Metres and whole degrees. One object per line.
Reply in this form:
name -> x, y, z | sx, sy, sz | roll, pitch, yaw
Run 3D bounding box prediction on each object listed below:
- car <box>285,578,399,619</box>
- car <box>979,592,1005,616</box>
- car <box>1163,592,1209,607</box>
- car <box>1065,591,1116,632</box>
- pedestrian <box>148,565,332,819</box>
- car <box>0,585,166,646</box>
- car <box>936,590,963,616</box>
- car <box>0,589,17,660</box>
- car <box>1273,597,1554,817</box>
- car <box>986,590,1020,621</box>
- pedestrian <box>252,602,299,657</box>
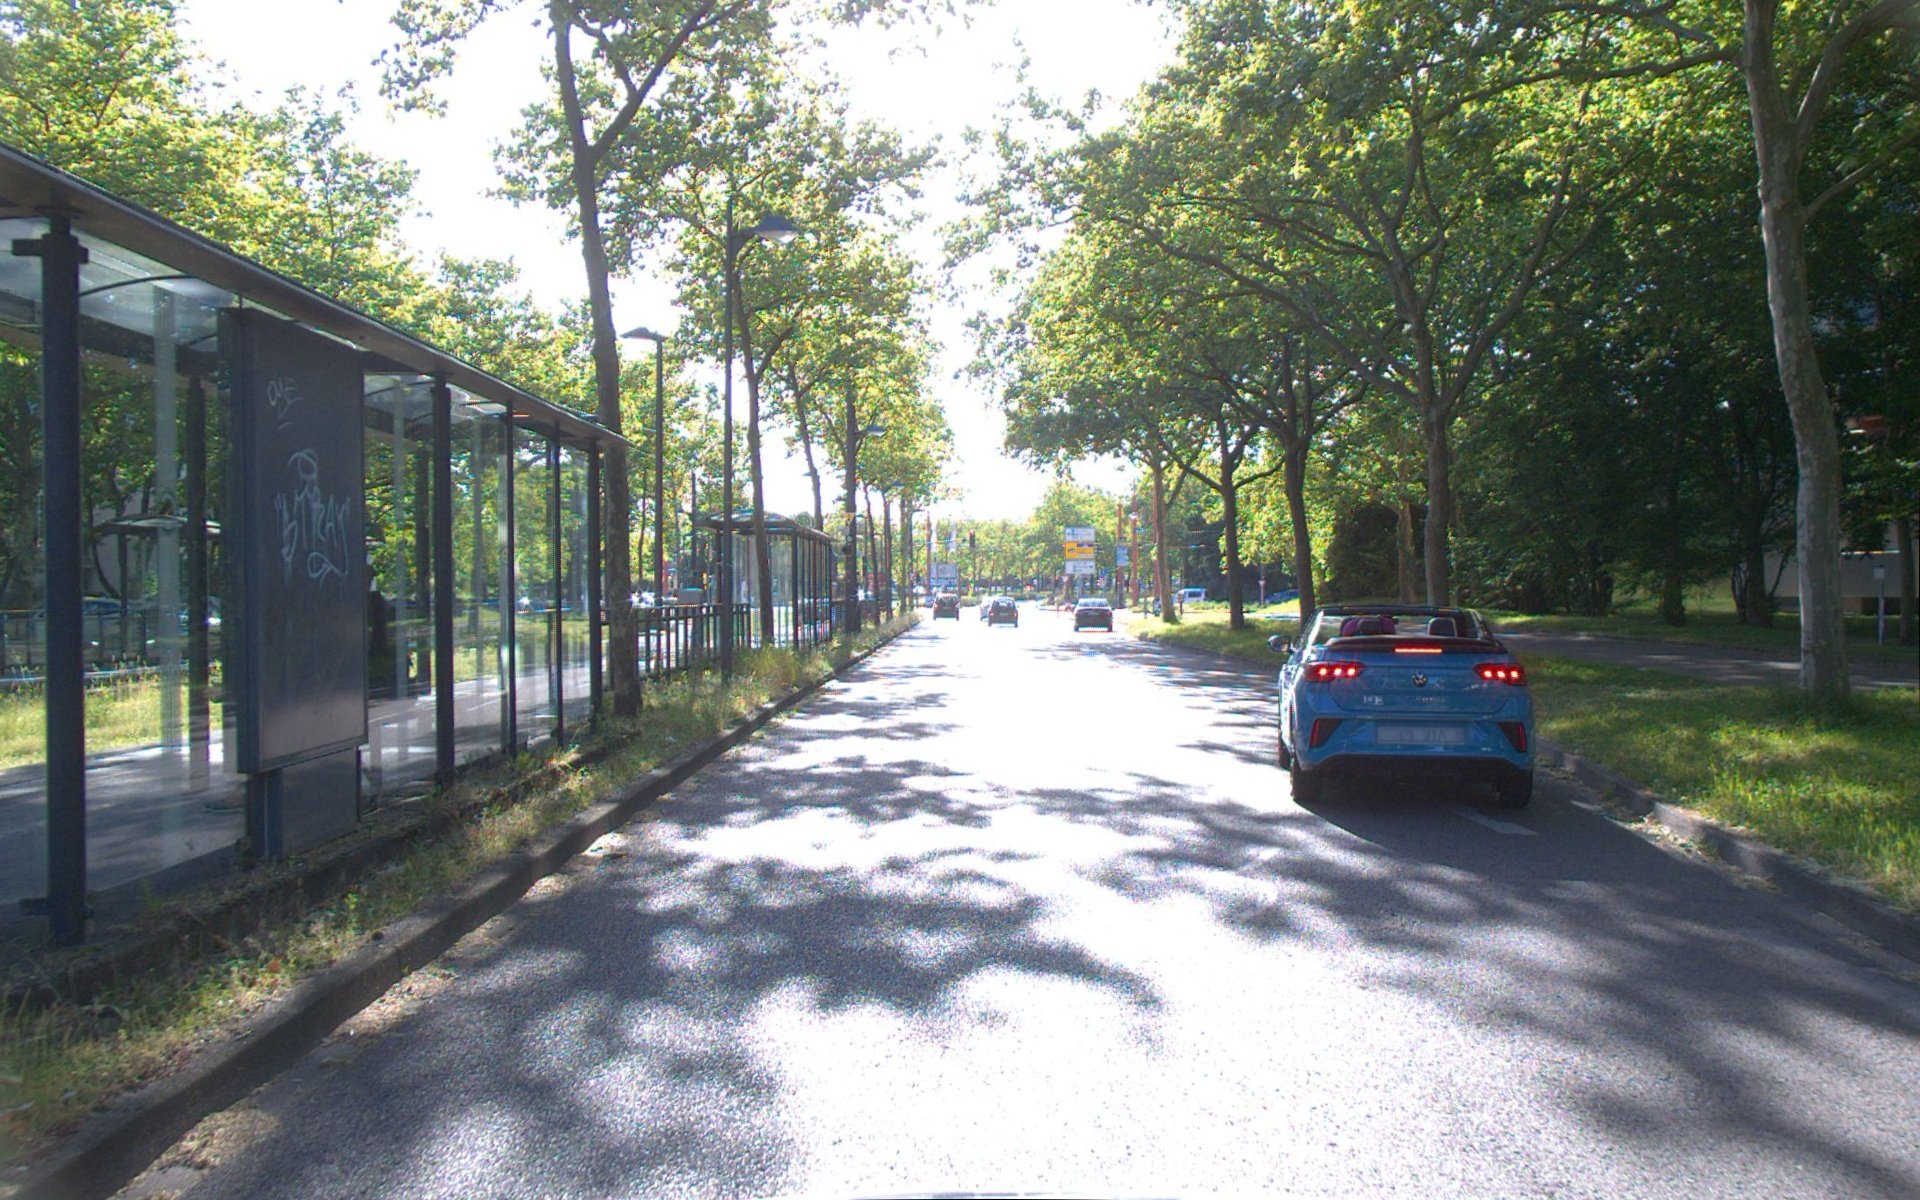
car -> -24.539, -0.093, 65.779 | 3.960, 1.571, 1.621 | -1, 1, -42
car -> 2.015, 0.225, 105.898 | 1.644, 1.500, 4.131 | 0, 0, 1
car -> 21.208, -0.075, 155.175 | 3.908, 1.361, 1.727 | 1, 0, 26
car -> 5.987, 0.520, 76.258 | 1.941, 1.823, 4.613 | 1, 0, -1
pedestrian -> -3.744, 0.466, 8.649 | 0.719, 1.274, 0.587 | 1, 0, -7
car -> -24.283, 0.386, 45.004 | 1.865, 1.530, 4.475 | 1, 1, 40
car -> -0.660, 0.169, 105.212 | 1.676, 1.631, 3.349 | 0, 0, -1
car -> -24.346, 0.595, 38.359 | 4.030, 1.638, 1.662 | -1, 2, -45
car -> 3.556, 0.737, 13.641 | 1.738, 1.509, 4.103 | 1, 0, 8
car -> 2.280, 0.275, 87.785 | 1.605, 1.520, 3.502 | 1, 1, -1
pedestrian -> -15.142, 0.646, 36.590 | 0.680, 1.147, 0.662 | -4, 0, 0
